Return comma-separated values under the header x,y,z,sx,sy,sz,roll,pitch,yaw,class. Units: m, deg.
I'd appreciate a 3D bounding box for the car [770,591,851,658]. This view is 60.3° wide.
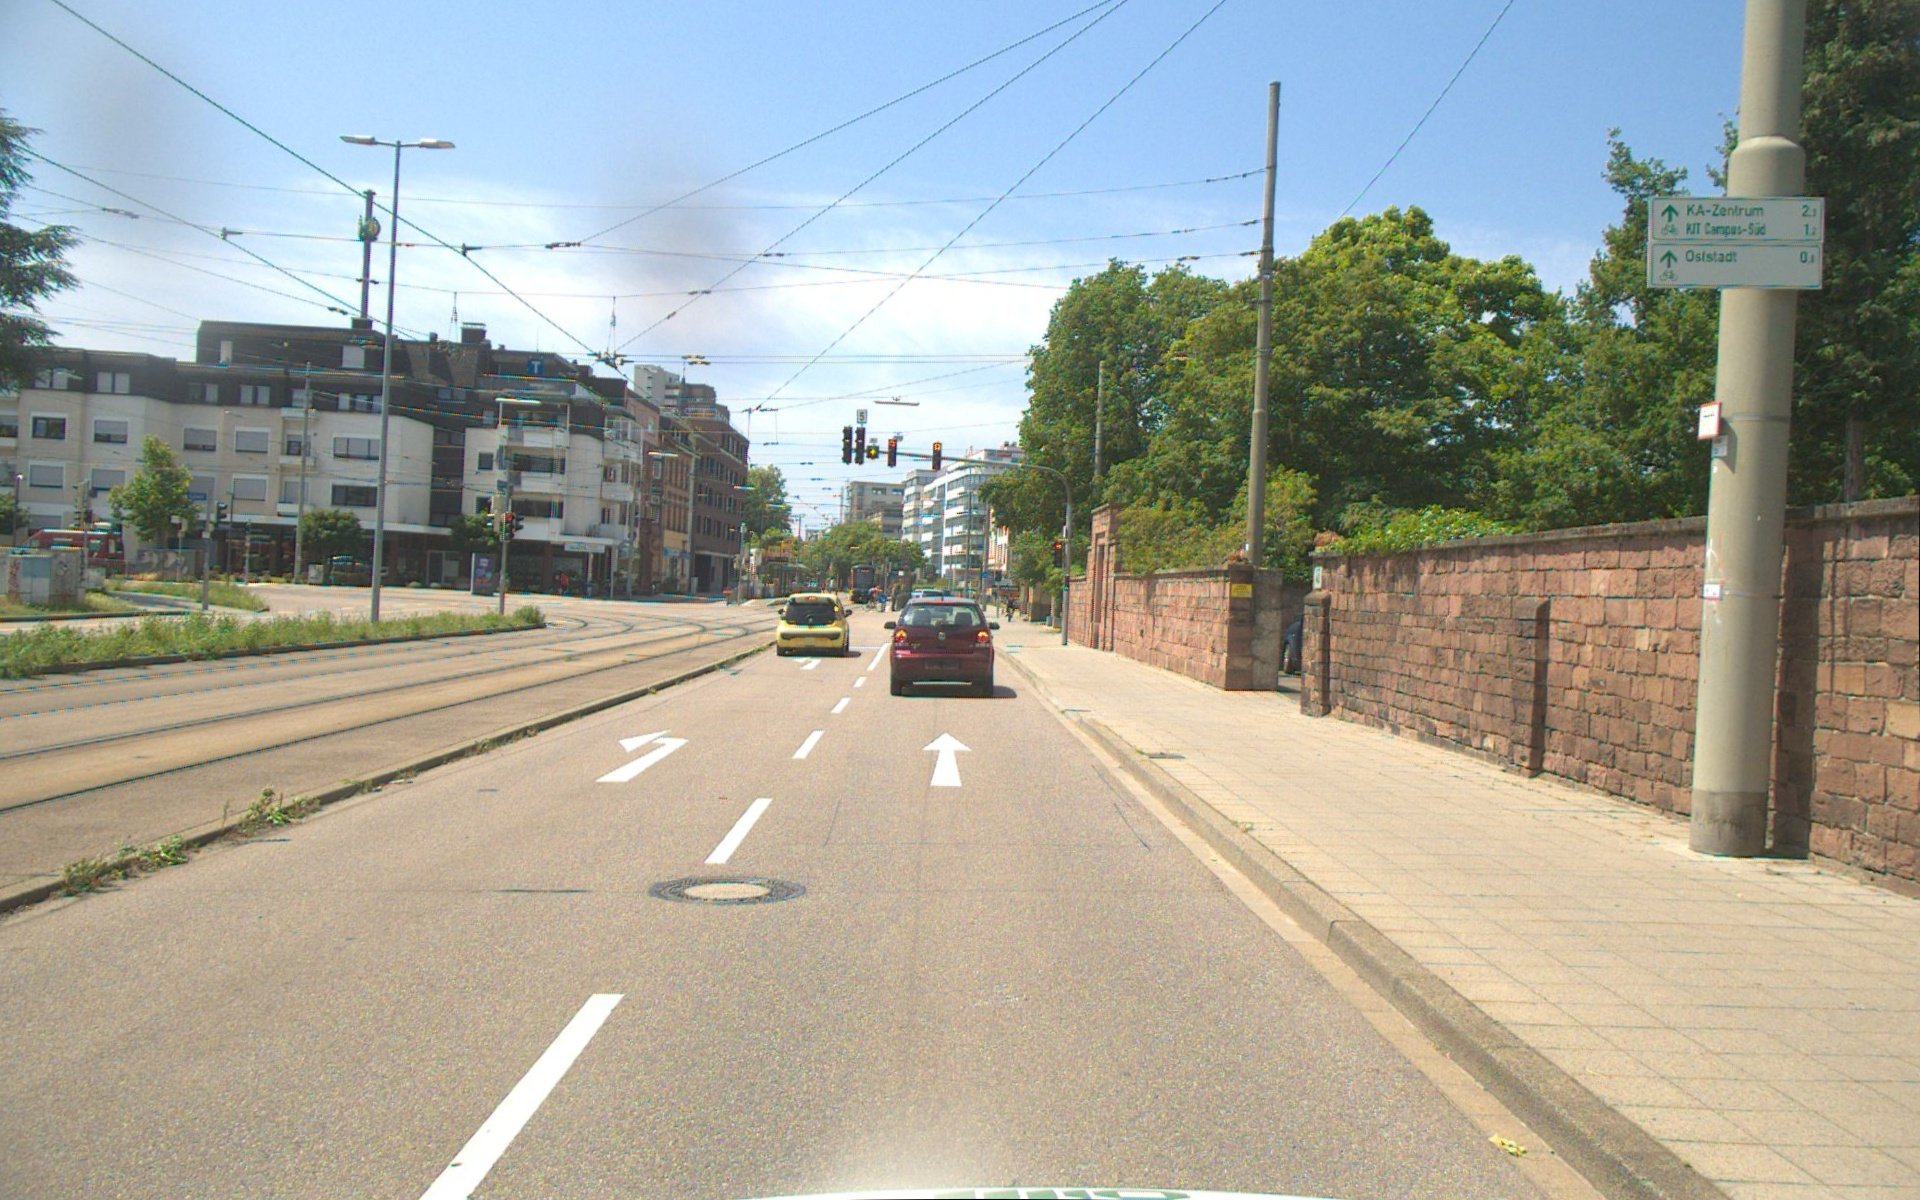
x,y,z,sx,sy,sz,roll,pitch,yaw,class
-3.535,0.550,39.468,1.688,1.470,3.292,1,1,-1,car

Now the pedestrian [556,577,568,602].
x,y,z,sx,sy,sz,roll,pitch,yaw,class
-25.070,-0.670,104.196,0.477,1.568,0.534,0,-1,45,pedestrian

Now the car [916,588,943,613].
x,y,z,sx,sy,sz,roll,pitch,yaw,class
-1.795,0.024,97.296,1.540,1.440,3.719,0,0,-1,car

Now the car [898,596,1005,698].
x,y,z,sx,sy,sz,roll,pitch,yaw,class
-0.166,0.685,26.389,1.577,1.489,4.084,0,0,-1,car

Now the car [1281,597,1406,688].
x,y,z,sx,sy,sz,roll,pitch,yaw,class
7.080,0.750,30.786,1.451,1.508,2.943,3,0,-3,car

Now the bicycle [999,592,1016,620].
x,y,z,sx,sy,sz,roll,pitch,yaw,class
2.782,0.358,96.933,0.818,1.552,3.999,1,0,-1,bicycle

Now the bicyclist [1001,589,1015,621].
x,y,z,sx,sy,sz,roll,pitch,yaw,class
2.790,0.281,95.874,0.707,1.850,0.888,1,-1,-1,bicyclist

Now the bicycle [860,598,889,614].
x,y,z,sx,sy,sz,roll,pitch,yaw,class
-5.448,0.380,105.220,1.829,1.025,0.578,1,-1,-5,bicycle

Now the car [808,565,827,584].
x,y,z,sx,sy,sz,roll,pitch,yaw,class
-16.256,-2.886,188.781,1.700,2.049,4.000,2,0,-1,car

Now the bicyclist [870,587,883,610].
x,y,z,sx,sy,sz,roll,pitch,yaw,class
-5.308,-0.080,105.207,0.751,1.430,0.506,1,-1,-5,bicyclist

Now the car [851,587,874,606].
x,y,z,sx,sy,sz,roll,pitch,yaw,class
-8.912,-0.348,151.551,1.899,1.670,3.999,1,0,-1,car

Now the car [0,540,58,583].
x,y,z,sx,sy,sz,roll,pitch,yaw,class
-39.104,-1.564,67.049,4.458,1.638,1.730,1,-1,14,car

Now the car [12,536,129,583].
x,y,z,sx,sy,sz,roll,pitch,yaw,class
-47.343,-2.141,88.121,4.962,2.382,2.244,1,-1,-2,car
